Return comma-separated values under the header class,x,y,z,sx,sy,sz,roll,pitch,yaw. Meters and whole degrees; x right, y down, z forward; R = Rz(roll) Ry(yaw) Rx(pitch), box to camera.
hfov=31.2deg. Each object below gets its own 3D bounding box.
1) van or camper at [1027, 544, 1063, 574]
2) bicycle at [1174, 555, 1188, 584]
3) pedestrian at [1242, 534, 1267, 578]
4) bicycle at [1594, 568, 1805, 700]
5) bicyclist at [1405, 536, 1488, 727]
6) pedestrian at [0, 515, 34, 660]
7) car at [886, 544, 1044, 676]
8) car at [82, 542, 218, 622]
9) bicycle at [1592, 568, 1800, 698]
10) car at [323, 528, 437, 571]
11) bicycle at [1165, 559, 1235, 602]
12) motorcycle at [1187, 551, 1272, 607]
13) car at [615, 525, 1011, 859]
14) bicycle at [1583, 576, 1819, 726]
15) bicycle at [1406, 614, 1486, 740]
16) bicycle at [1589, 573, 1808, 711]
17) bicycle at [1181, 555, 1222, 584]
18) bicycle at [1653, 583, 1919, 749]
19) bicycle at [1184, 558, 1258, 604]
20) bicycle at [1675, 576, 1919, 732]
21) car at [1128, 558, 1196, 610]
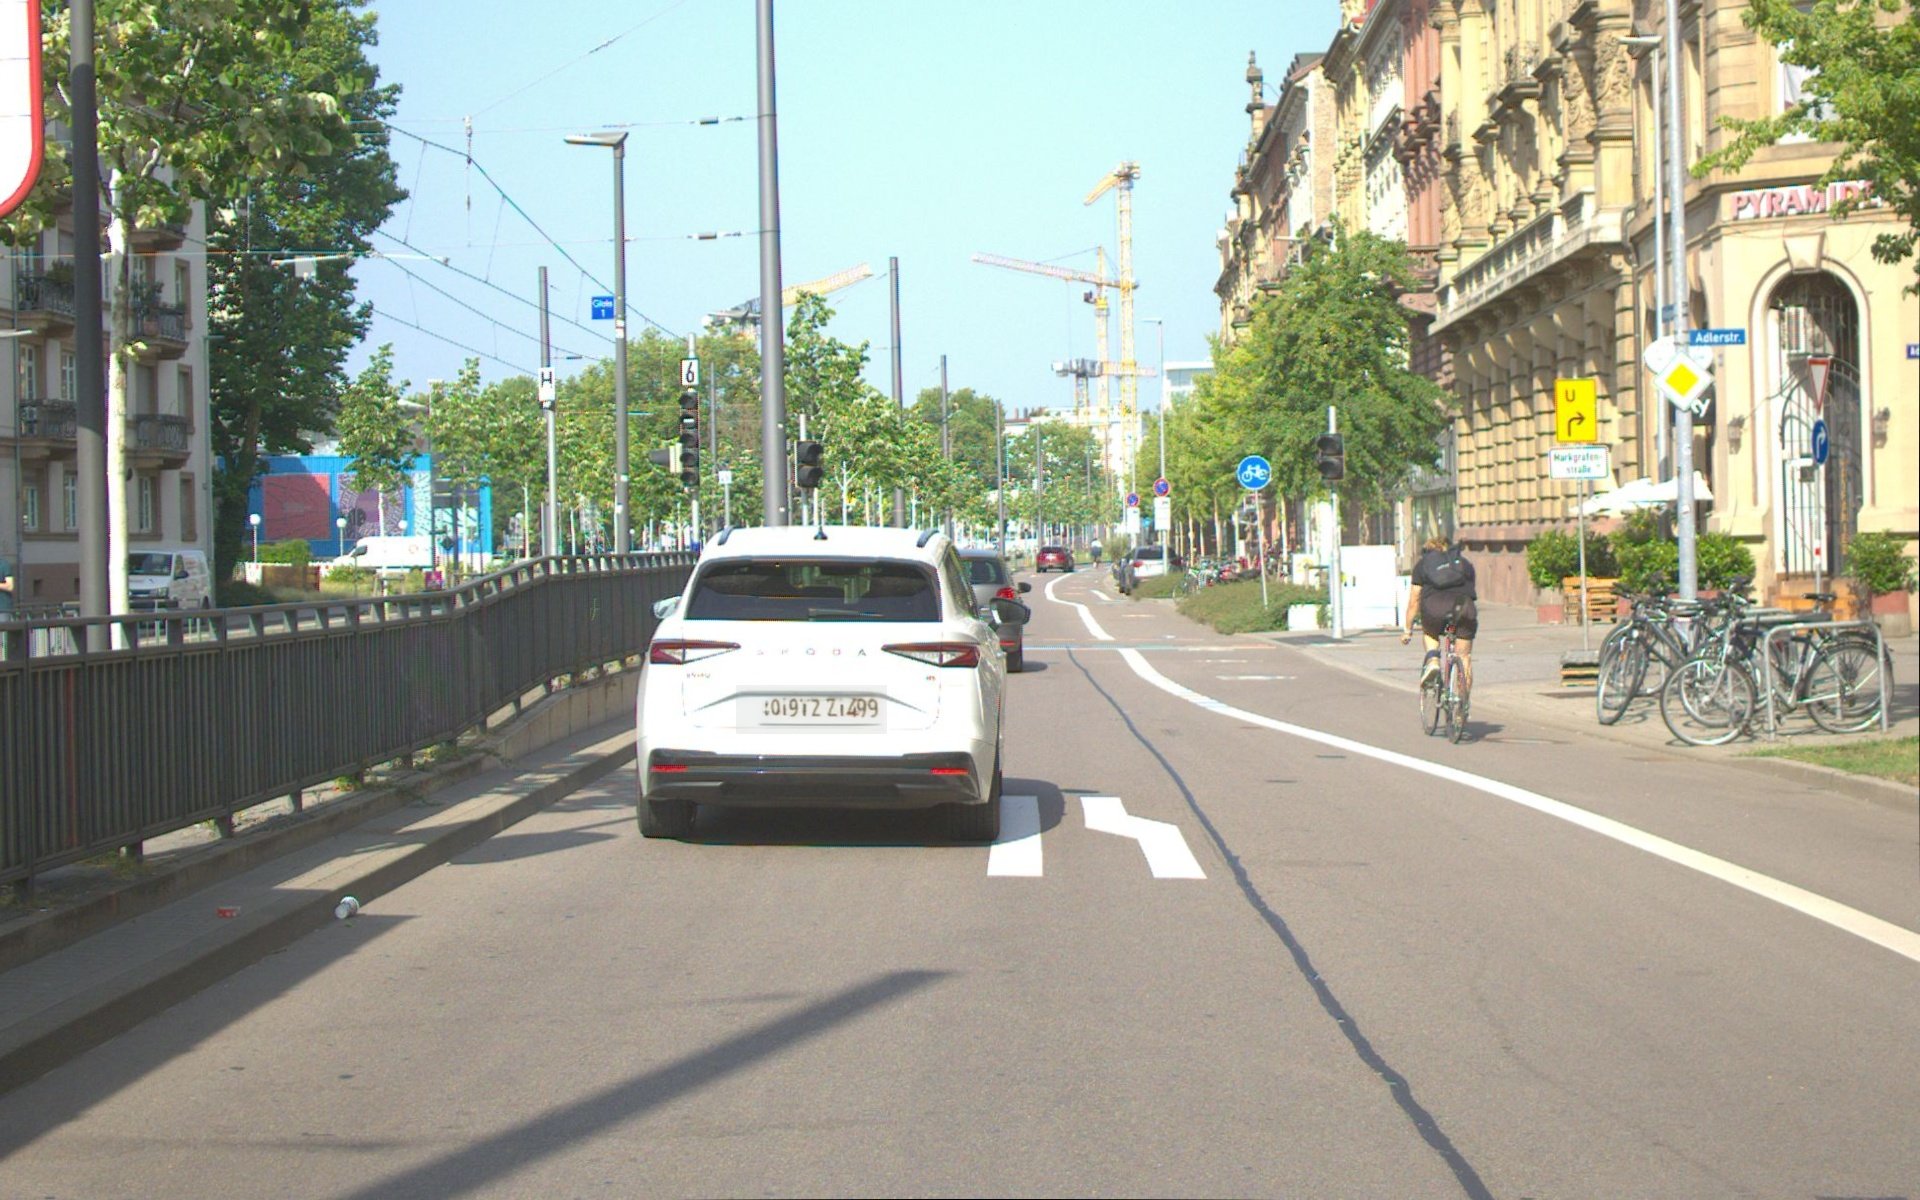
class,x,y,z,sx,sy,sz,roll,pitch,yaw
van or camper,4.905,-2.364,197.708,1.993,1.649,4.000,-2,1,1
bicycle,8.562,-1.191,133.209,0.492,1.090,1.826,-1,1,2
pedestrian,11.513,-1.727,134.457,0.823,1.691,0.793,-3,1,-2
bicycle,6.679,0.300,31.095,1.752,1.084,0.582,-3,1,5
bicyclist,3.825,0.246,27.067,0.584,1.477,0.931,0,0,4
pedestrian,-12.623,-0.153,44.459,1.067,1.861,0.864,-1,0,-26
car,0.114,0.081,40.837,1.754,1.479,4.406,0,1,2
car,-20.115,-0.484,85.596,1.993,1.911,5.153,1,1,2
bicycle,6.774,0.298,31.694,1.752,1.084,0.582,-3,1,5
car,-37.292,-3.234,221.020,6.872,2.629,2.515,1,0,-19
bicycle,6.309,-0.511,90.386,1.784,1.050,0.373,-3,1,1
motorcycle,6.674,-0.523,85.053,2.035,1.282,0.705,-4,2,-31
car,-0.669,0.411,18.580,1.817,1.584,4.406,0,1,2
bicycle,6.115,0.416,28.364,1.755,1.084,0.673,-5,1,-21
bicycle,3.839,0.596,27.222,0.505,0.950,1.784,0,0,4
bicycle,6.398,0.358,29.849,1.756,1.084,0.668,-3,1,7
bicycle,9.291,-1.167,132.303,0.454,1.078,1.873,-2,-2,44
bicycle,6.144,0.482,25.590,1.755,1.084,0.611,-4,1,-7
bicycle,6.768,-0.492,89.178,1.806,1.092,0.672,-3,1,-3
bicycle,6.638,0.416,27.142,1.755,1.084,0.658,-4,1,-7
car,6.570,-0.543,112.030,1.769,1.583,4.248,-2,1,-2
